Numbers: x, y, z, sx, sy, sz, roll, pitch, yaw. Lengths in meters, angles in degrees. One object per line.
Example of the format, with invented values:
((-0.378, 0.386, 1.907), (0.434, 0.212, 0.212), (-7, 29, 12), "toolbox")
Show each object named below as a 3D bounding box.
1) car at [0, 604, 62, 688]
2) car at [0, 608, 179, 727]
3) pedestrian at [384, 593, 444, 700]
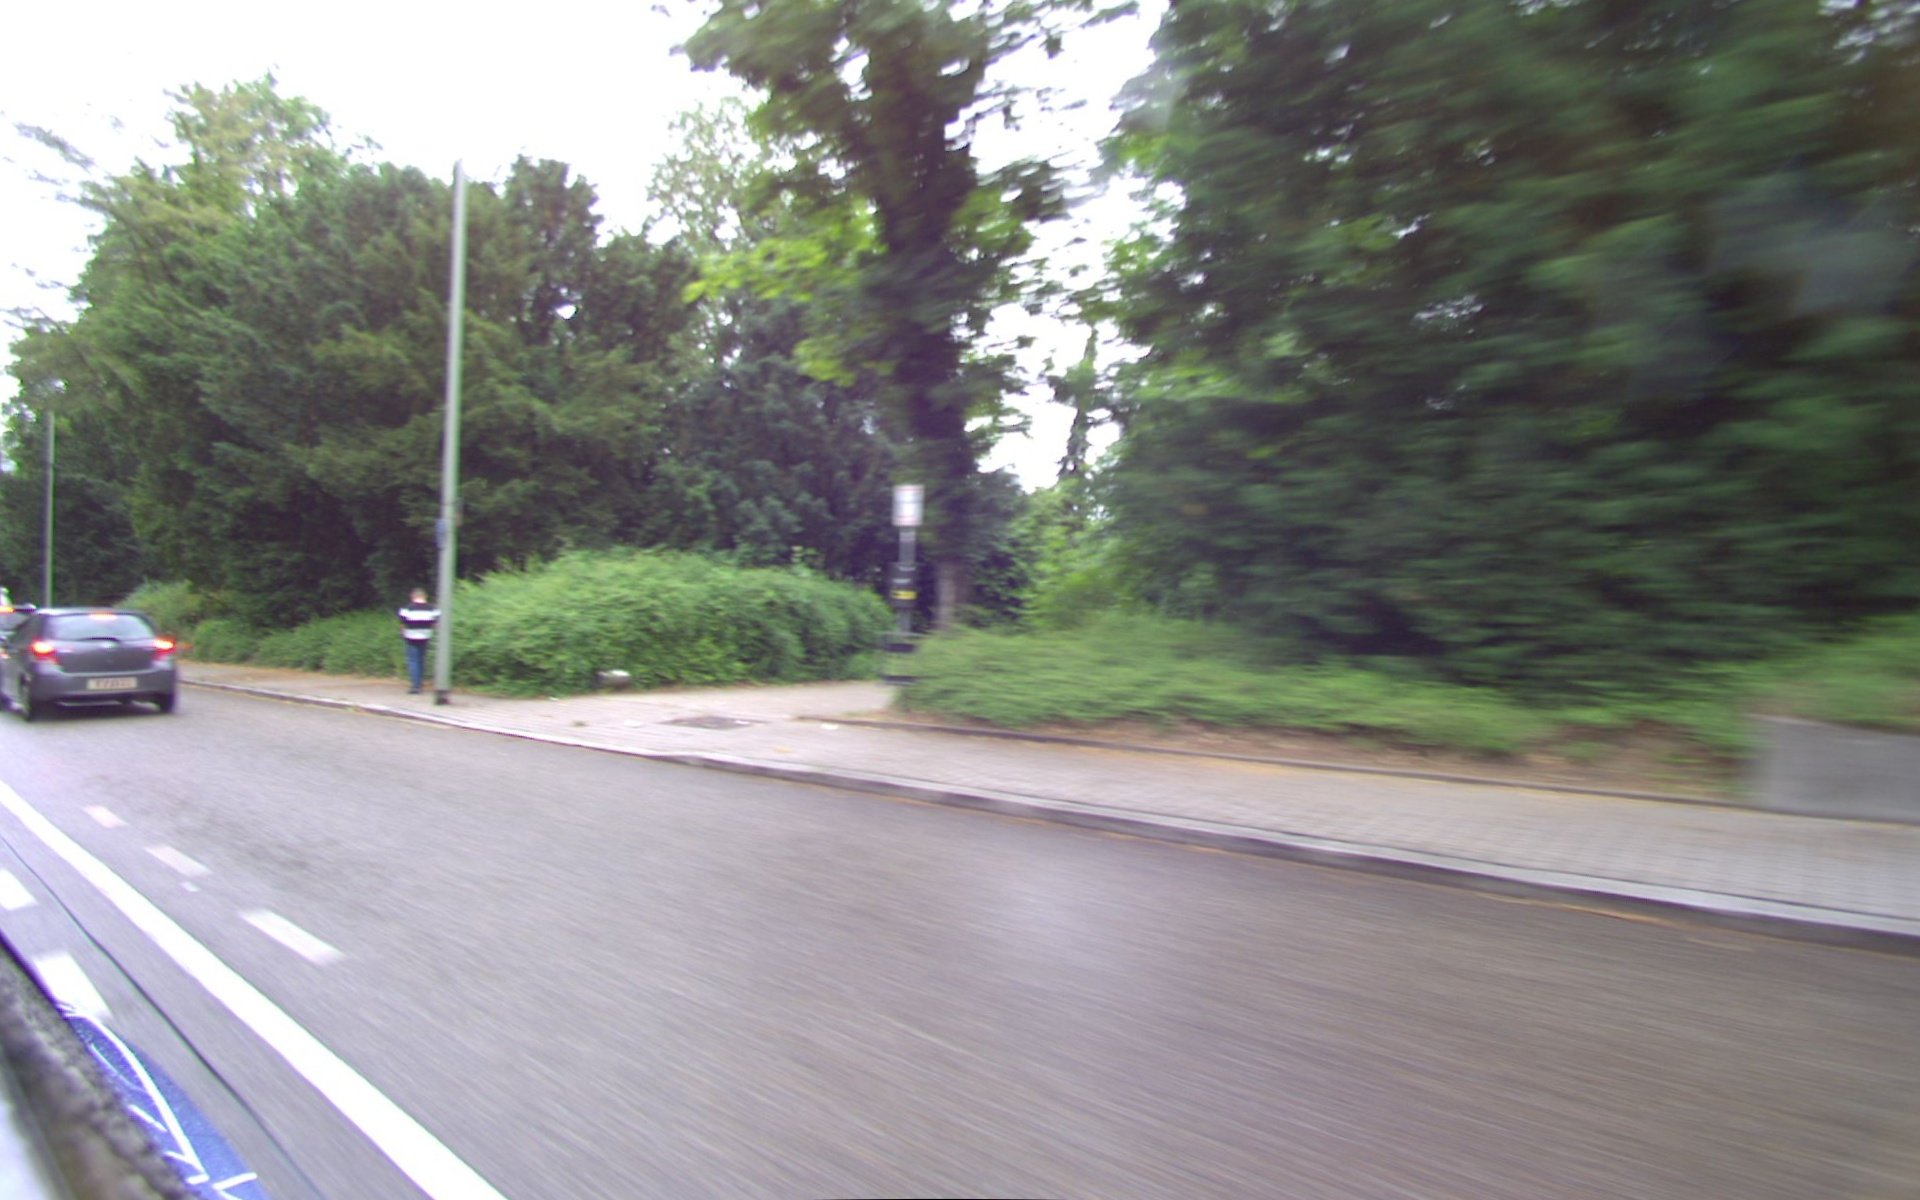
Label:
((-21.075, 0.963, 21.920), (3.996, 1.724, 1.812), (-1, -1, 39), "car")
((-12.734, 0.879, 14.582), (3.457, 1.507, 1.658), (-1, -1, 40), "car")
((-8.753, 0.724, 16.223), (0.697, 1.656, 0.714), (1, -1, -43), "pedestrian")
